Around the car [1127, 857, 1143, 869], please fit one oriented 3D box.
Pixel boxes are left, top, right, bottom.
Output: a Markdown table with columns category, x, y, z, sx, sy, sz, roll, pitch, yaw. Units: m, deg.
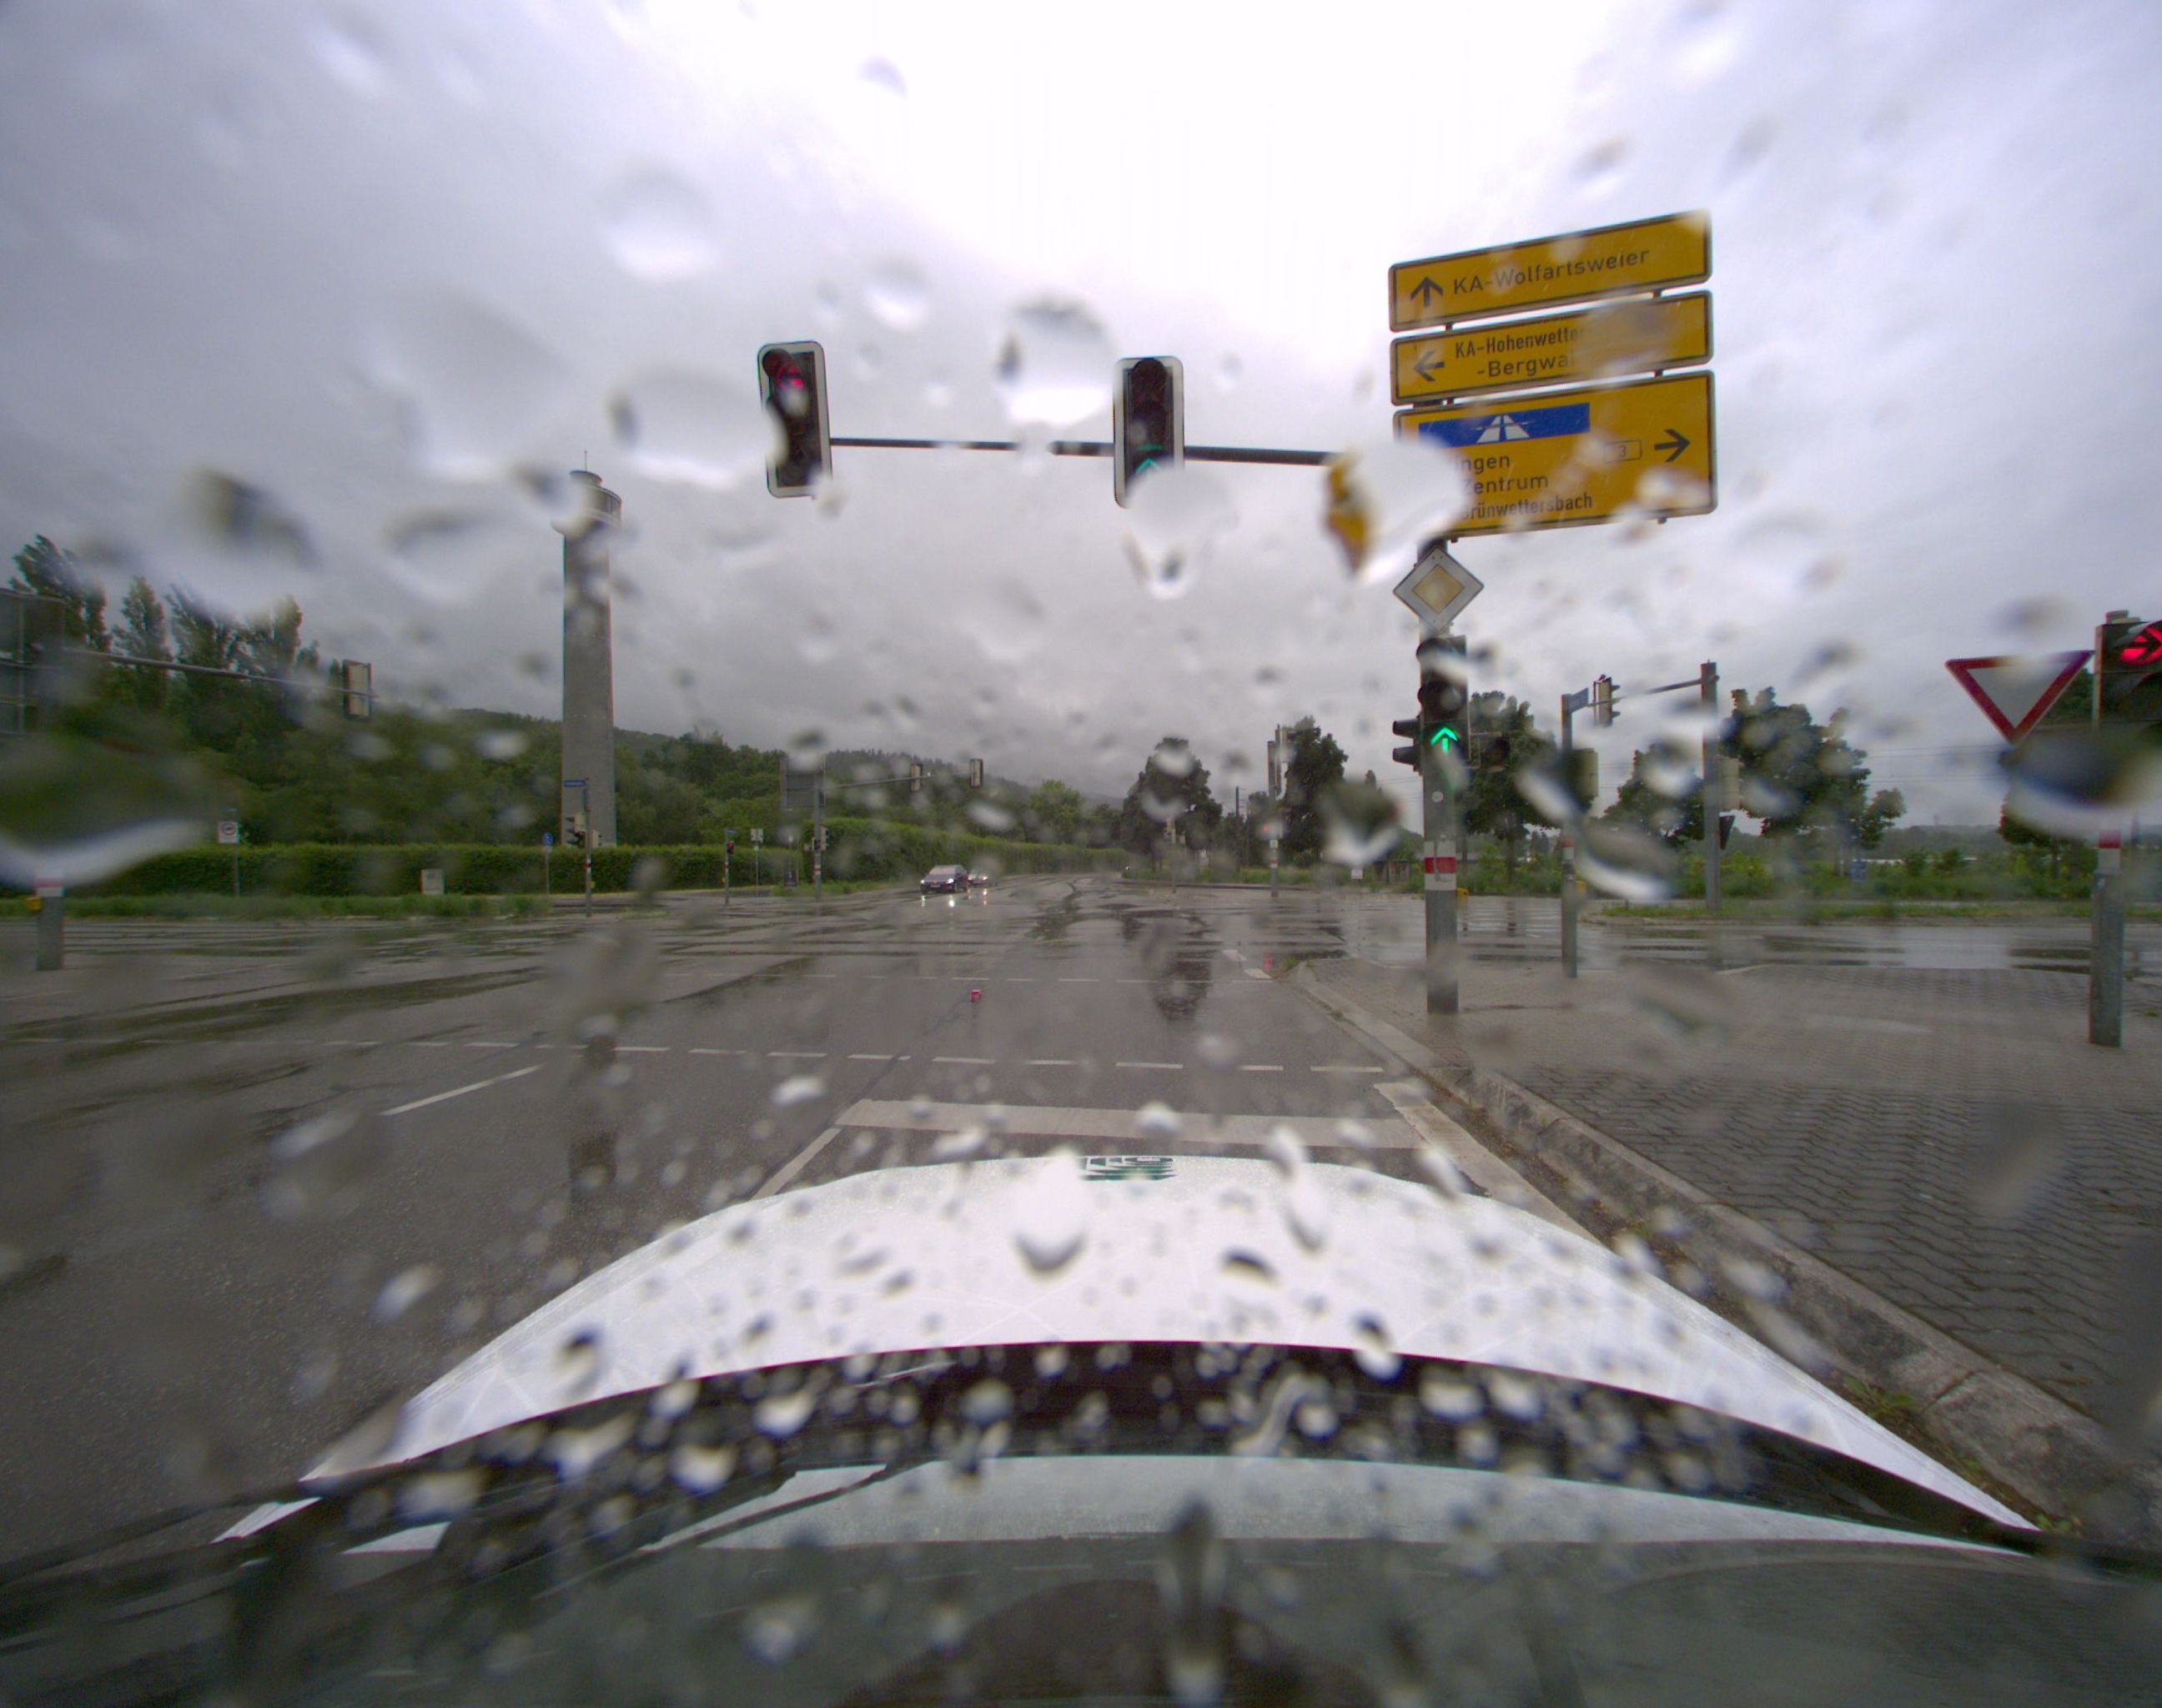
| category | x | y | z | sx | sy | sz | roll | pitch | yaw |
| --- | --- | --- | --- | --- | --- | --- | --- | --- | --- |
| car | 9.571 | 1.593 | 143.676 | 1.939 | 1.904 | 4.137 | -1 | 0 | 15 |

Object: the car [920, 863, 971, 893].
| category | x | y | z | sx | sy | sz | roll | pitch | yaw |
| --- | --- | --- | --- | --- | --- | --- | --- | --- | --- |
| car | -7.212 | 1.255 | 43.746 | 1.701 | 1.466 | 4.458 | -1 | 0 | 4 |

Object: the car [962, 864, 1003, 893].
| category | x | y | z | sx | sy | sz | roll | pitch | yaw |
| --- | --- | --- | --- | --- | --- | --- | --- | --- | --- |
| car | -6.498 | 1.589 | 54.104 | 2.029 | 1.708 | 4.067 | -1 | 0 | 2 |
